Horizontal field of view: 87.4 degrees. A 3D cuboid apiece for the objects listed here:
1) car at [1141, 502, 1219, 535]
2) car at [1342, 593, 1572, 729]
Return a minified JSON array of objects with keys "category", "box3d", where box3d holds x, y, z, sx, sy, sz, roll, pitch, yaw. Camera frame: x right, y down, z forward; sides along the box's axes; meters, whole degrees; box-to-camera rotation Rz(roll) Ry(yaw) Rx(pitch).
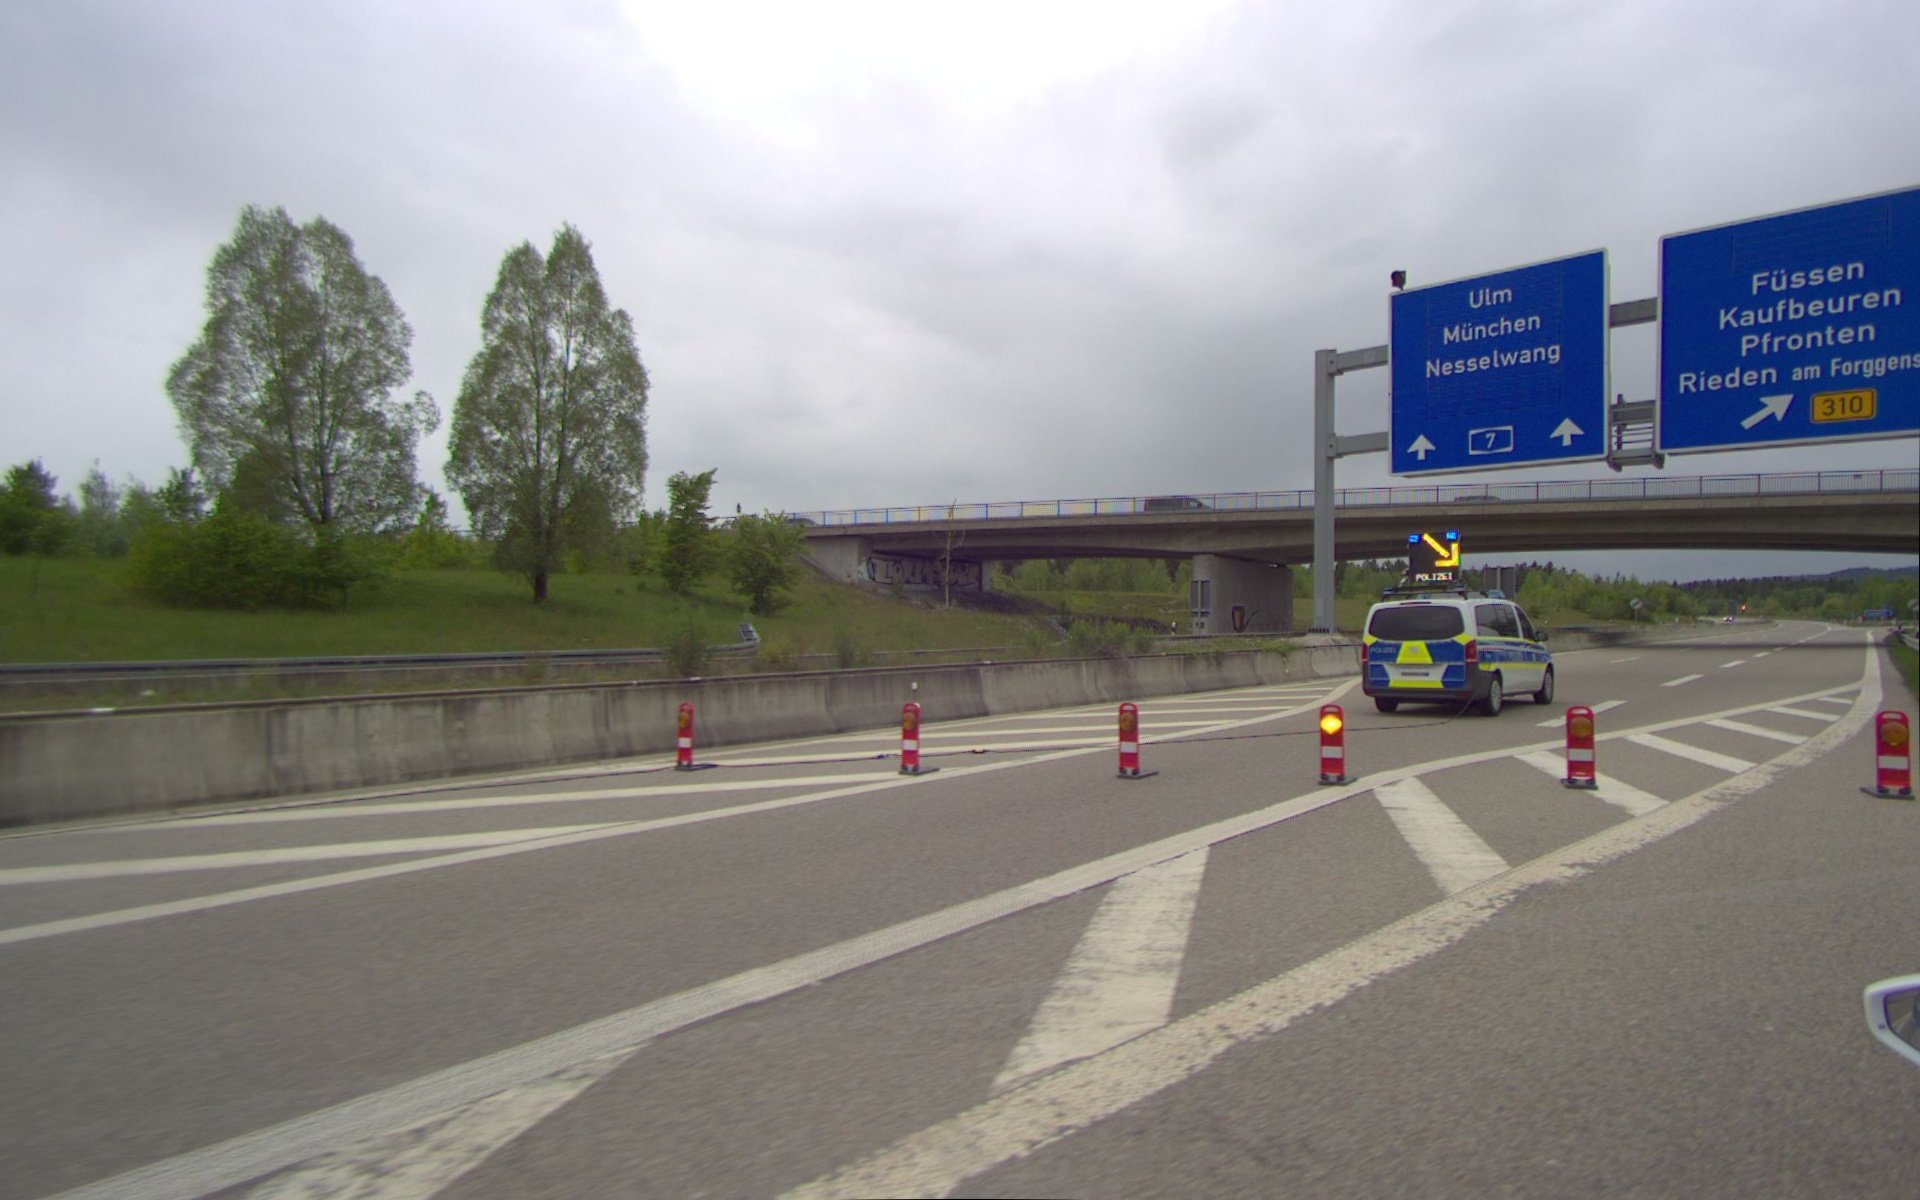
[{"category":"car","box3d":[14.699,-5.414,67.047,4.843,1.669,2.000,-2,-2,21]},{"category":"car","box3d":[8.898,0.985,17.759,2.262,2.040,5.020,-2,-2,43]}]
